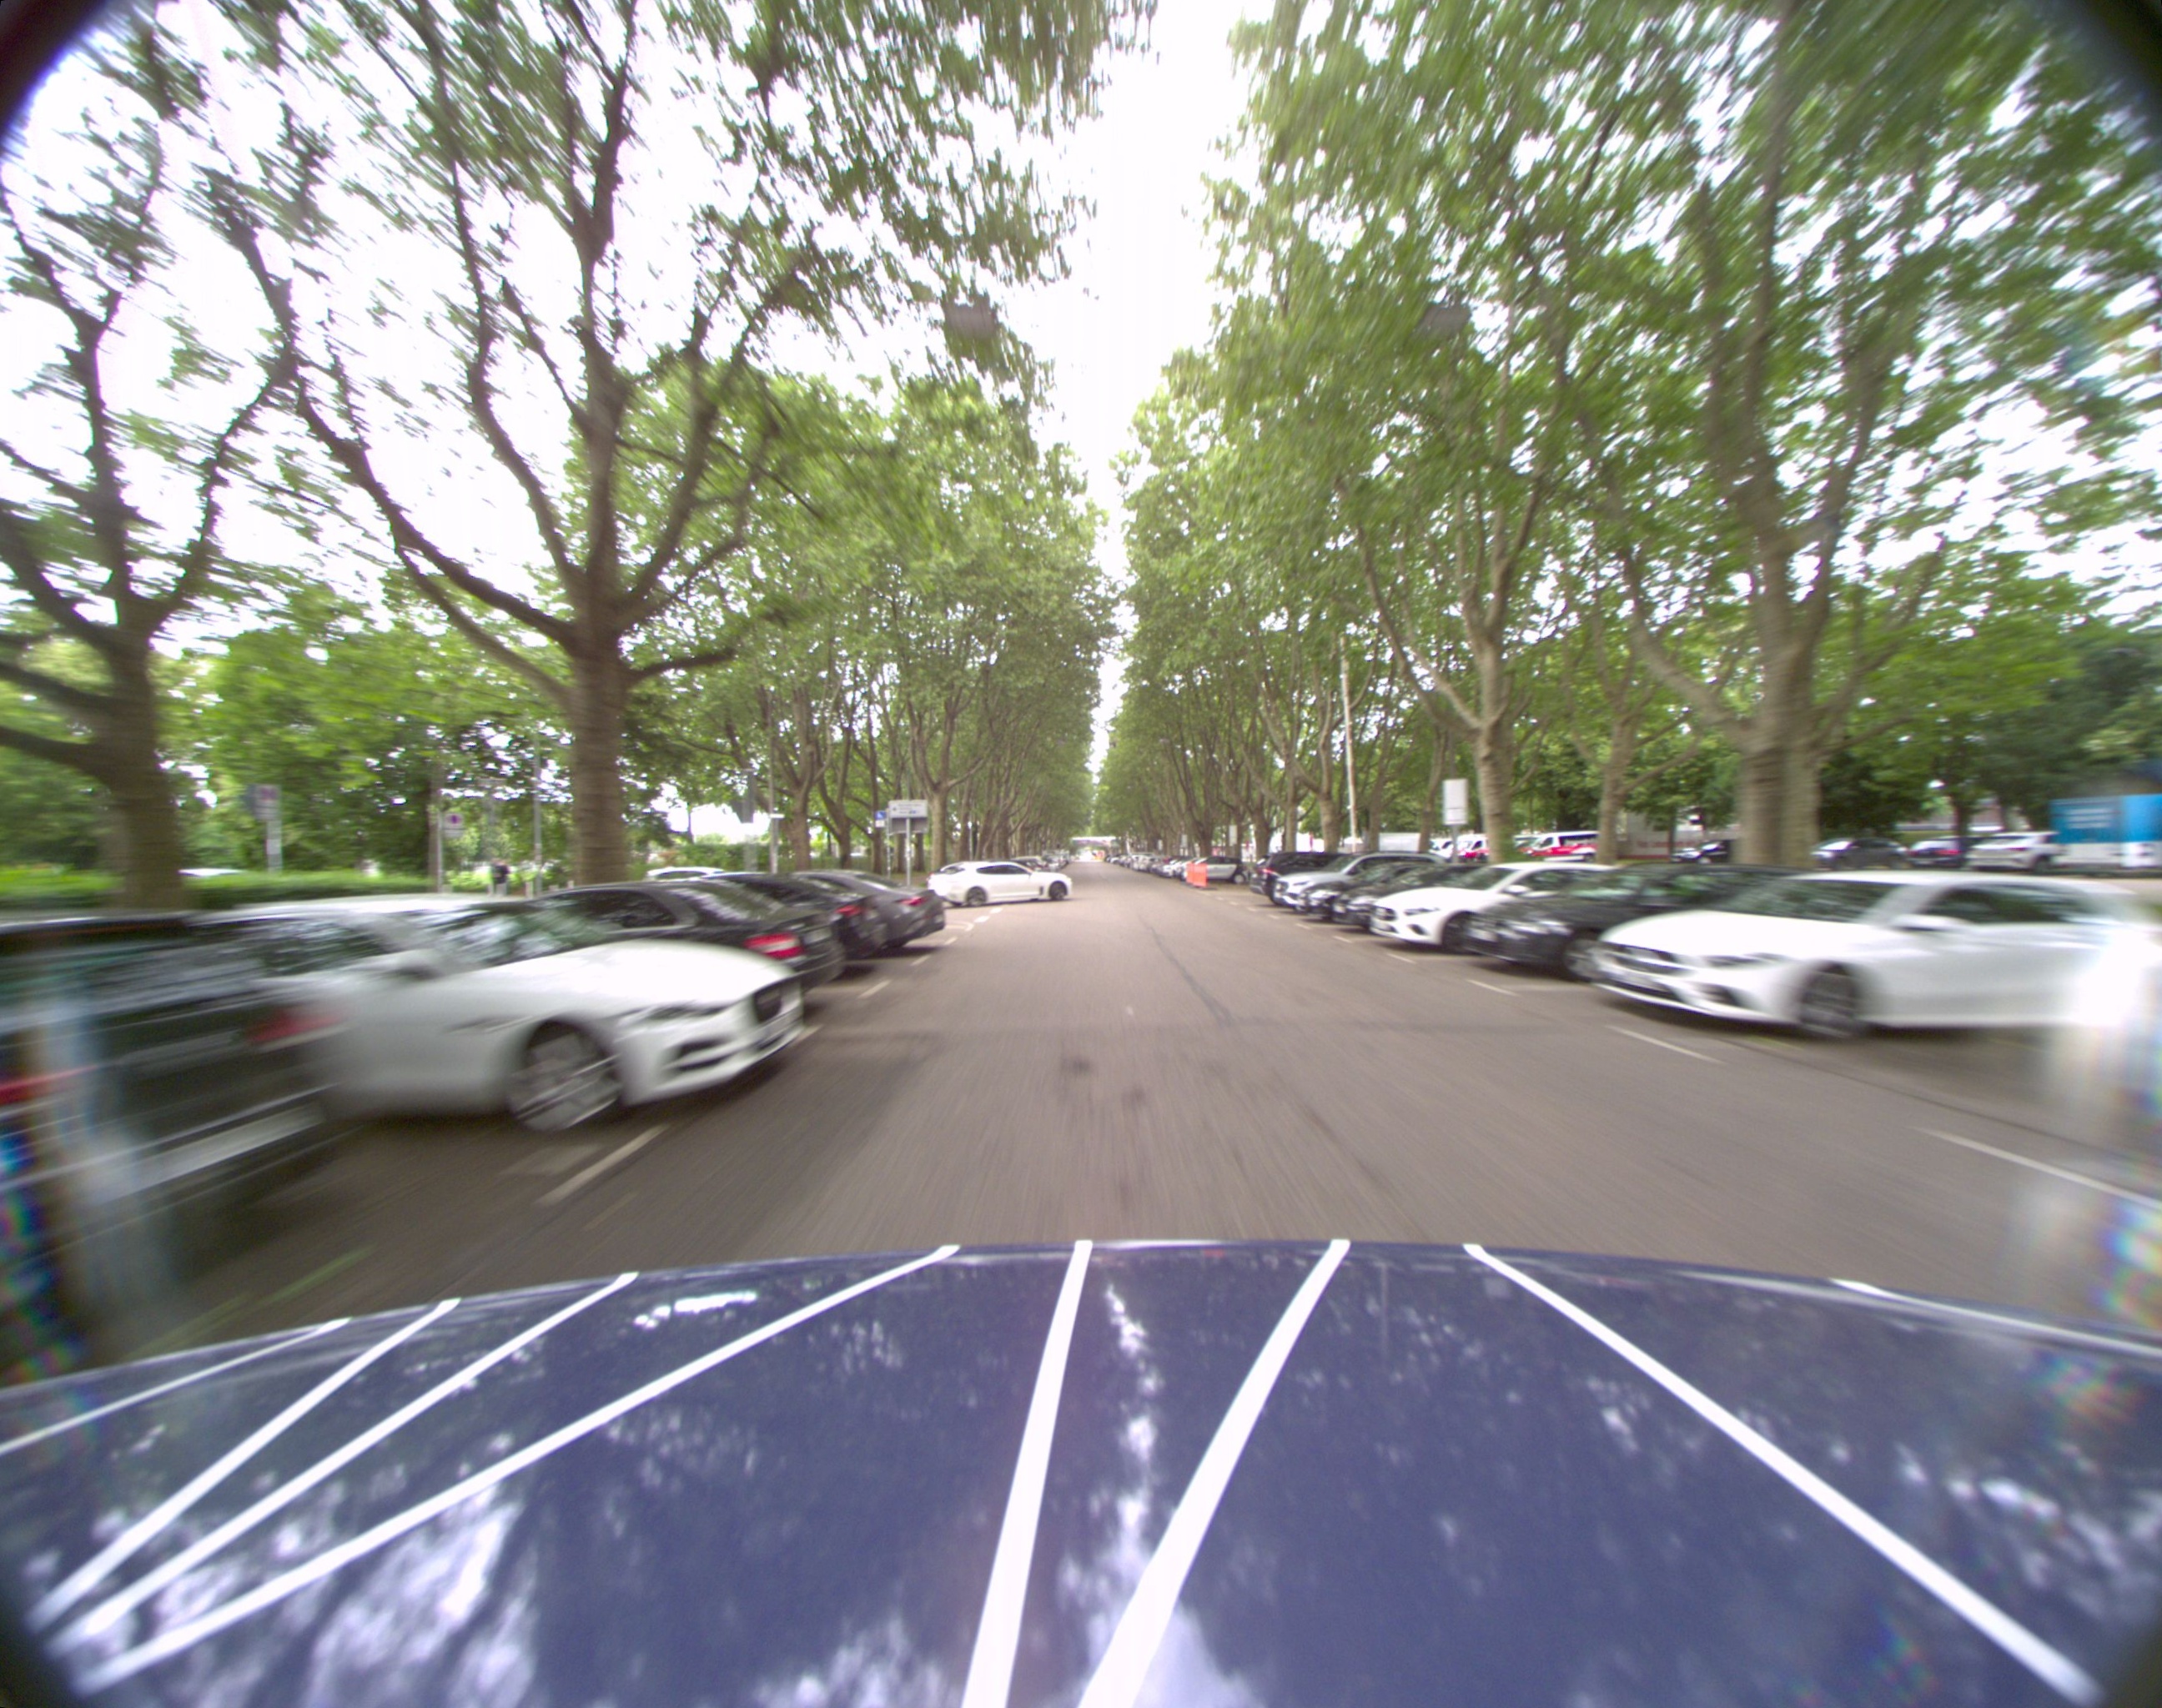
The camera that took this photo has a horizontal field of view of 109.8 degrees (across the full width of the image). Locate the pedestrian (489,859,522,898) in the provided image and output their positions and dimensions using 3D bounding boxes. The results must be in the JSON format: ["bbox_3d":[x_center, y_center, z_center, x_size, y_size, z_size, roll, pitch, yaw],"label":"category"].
[{"bbox_3d":[-23.873,1.010,31.532,0.724,1.558,0.698,-2,1,7],"label":"pedestrian"}]

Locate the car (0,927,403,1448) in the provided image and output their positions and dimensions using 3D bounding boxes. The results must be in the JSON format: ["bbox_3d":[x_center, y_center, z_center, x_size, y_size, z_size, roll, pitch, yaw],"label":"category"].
[{"bbox_3d":[-5.264,1.147,2.730,4.025,1.439,1.784,-3,0,1],"label":"car"}]

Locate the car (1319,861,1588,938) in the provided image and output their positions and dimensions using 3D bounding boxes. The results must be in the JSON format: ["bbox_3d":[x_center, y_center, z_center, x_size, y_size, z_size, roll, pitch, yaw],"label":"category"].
[{"bbox_3d":[7.157,0.852,14.878,4.419,1.387,1.724,0,0,-2],"label":"car"}]

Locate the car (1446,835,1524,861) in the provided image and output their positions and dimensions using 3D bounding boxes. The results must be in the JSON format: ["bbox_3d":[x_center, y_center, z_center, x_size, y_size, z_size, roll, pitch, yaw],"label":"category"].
[{"bbox_3d":[34.844,-0.505,65.643,5.466,2.009,2.393,-2,1,-2],"label":"car"}]

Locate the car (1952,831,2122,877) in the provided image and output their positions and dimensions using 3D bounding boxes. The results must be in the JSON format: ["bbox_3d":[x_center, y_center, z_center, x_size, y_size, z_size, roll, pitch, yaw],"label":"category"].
[{"bbox_3d":[34.271,-0.008,27.301,3.997,1.499,1.733,-2,1,-1],"label":"car"}]

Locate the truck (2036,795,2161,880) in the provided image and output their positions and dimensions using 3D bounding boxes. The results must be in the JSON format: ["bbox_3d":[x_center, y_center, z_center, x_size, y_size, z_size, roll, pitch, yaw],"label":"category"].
[{"bbox_3d":[34.398,-0.567,24.689,3.996,2.594,2.122,-2,1,1],"label":"truck"}]

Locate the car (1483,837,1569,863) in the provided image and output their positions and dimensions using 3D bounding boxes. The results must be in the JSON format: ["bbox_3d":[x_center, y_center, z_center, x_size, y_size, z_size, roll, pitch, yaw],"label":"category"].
[{"bbox_3d":[34.190,-0.325,58.430,5.466,1.839,1.999,-2,1,-2],"label":"car"}]

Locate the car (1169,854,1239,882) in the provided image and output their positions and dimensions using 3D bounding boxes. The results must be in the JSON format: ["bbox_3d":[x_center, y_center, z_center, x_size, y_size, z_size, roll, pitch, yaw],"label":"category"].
[{"bbox_3d":[7.182,0.793,44.601,3.847,1.529,1.676,1,0,2],"label":"car"}]

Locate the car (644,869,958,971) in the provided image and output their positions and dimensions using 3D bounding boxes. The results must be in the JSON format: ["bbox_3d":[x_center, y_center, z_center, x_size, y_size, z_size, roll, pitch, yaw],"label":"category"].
[{"bbox_3d":[-4.551,1.060,12.756,4.598,1.409,1.719,-2,0,4],"label":"car"}]

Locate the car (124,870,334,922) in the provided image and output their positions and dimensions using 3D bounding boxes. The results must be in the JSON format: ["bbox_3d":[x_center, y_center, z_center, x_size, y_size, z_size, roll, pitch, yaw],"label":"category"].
[{"bbox_3d":[-25.857,1.239,23.180,4.288,1.453,1.784,-1,0,-1],"label":"car"}]

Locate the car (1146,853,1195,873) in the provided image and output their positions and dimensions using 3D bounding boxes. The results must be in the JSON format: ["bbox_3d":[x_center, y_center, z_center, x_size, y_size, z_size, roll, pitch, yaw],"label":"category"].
[{"bbox_3d":[7.616,0.765,64.780,4.028,1.619,2.001,1,-1,2],"label":"car"}]

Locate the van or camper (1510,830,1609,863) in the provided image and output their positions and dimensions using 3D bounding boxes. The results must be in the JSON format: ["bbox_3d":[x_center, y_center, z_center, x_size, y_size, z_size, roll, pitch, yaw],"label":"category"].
[{"bbox_3d":[35.067,-0.548,55.806,5.719,2.242,2.329,-2,1,0],"label":"van or camper"}]

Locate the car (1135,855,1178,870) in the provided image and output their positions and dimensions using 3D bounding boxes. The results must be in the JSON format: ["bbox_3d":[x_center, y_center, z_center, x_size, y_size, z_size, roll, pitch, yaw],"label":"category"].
[{"bbox_3d":[7.136,0.821,72.354,3.996,1.422,2.001,1,-1,2],"label":"car"}]

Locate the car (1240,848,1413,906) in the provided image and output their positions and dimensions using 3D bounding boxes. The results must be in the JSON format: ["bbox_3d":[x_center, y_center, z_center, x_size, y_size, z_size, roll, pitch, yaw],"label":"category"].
[{"bbox_3d":[7.173,0.665,22.511,4.420,1.617,2.047,0,0,-3],"label":"car"}]

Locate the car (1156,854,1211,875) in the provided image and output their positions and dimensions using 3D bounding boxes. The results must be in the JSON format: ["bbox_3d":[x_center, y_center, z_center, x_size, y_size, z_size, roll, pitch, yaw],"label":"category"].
[{"bbox_3d":[7.689,0.810,57.280,3.996,1.505,1.874,1,0,2],"label":"car"}]

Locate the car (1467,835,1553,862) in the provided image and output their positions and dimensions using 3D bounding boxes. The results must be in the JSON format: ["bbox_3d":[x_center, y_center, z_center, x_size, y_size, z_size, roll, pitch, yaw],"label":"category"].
[{"bbox_3d":[34.336,-0.434,60.940,5.466,1.986,2.475,-2,1,-2],"label":"car"}]

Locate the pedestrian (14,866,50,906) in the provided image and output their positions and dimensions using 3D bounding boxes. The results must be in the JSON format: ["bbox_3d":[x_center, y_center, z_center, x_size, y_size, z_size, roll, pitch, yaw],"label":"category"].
[{"bbox_3d":[-44.116,1.344,31.955,0.699,1.634,0.723,-3,2,-44],"label":"pedestrian"}]

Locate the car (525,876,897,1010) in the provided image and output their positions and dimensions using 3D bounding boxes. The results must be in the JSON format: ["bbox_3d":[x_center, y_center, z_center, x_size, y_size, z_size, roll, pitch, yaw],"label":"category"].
[{"bbox_3d":[-4.708,1.096,10.238,4.029,1.409,1.910,-2,0,-5],"label":"car"}]

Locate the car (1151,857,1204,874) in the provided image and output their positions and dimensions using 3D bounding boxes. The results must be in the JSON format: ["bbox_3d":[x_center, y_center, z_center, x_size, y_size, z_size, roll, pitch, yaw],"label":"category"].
[{"bbox_3d":[7.525,0.900,59.491,3.996,1.302,2.001,1,-1,2],"label":"car"}]

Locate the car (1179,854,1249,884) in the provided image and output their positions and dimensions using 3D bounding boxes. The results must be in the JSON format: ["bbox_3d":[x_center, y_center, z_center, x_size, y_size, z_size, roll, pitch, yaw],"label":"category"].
[{"bbox_3d":[7.327,0.792,42.137,3.565,1.569,1.847,1,0,2],"label":"car"}]

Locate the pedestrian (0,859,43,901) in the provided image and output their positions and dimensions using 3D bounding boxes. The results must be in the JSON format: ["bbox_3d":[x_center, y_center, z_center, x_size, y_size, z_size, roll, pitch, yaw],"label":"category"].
[{"bbox_3d":[-43.081,1.048,30.898,0.697,1.634,0.725,-2,1,7],"label":"pedestrian"}]

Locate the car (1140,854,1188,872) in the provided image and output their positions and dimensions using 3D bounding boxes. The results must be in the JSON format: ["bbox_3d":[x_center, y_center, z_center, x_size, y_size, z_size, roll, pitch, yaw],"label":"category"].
[{"bbox_3d":[7.288,0.812,67.011,4.039,1.518,1.800,1,-1,2],"label":"car"}]

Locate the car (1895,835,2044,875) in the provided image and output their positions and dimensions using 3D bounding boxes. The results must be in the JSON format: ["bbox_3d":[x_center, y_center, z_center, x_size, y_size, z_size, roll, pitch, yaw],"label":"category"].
[{"bbox_3d":[34.619,0.035,29.669,4.014,1.369,1.729,-2,1,-3],"label":"car"}]

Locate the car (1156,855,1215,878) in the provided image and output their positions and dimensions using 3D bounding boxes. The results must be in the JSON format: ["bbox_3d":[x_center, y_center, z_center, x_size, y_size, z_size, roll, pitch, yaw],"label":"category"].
[{"bbox_3d":[7.103,0.823,52.107,3.847,1.466,1.847,1,0,2],"label":"car"}]

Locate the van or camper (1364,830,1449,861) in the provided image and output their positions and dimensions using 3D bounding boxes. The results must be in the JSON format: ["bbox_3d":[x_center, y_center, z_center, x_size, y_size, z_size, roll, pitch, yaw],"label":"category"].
[{"bbox_3d":[23.950,-0.615,56.003,5.299,2.087,2.244,-2,1,-2],"label":"van or camper"}]

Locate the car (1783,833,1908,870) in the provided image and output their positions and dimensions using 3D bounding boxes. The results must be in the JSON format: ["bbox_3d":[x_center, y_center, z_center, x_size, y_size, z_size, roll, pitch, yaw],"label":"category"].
[{"bbox_3d":[34.541,-0.121,34.386,3.998,1.478,1.800,-2,1,-3],"label":"car"}]

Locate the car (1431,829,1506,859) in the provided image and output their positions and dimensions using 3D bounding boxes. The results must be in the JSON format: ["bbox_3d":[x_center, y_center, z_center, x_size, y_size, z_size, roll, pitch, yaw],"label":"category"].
[{"bbox_3d":[34.820,-0.888,68.329,5.466,2.502,2.393,-2,1,-2],"label":"car"}]

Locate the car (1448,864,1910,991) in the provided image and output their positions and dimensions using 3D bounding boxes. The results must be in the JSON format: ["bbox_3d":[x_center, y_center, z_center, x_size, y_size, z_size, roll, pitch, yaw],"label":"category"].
[{"bbox_3d":[7.325,0.854,9.680,4.418,1.409,1.784,0,0,2],"label":"car"}]

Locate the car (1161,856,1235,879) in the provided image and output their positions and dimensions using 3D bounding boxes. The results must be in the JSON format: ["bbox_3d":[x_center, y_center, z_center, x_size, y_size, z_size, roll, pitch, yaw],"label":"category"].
[{"bbox_3d":[7.643,0.848,49.868,4.575,1.425,2.090,1,0,2],"label":"car"}]

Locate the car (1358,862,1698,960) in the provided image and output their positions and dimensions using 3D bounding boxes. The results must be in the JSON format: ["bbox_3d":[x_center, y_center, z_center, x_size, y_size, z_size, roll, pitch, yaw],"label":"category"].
[{"bbox_3d":[6.985,0.856,12.194,4.419,1.416,1.776,0,0,-1],"label":"car"}]

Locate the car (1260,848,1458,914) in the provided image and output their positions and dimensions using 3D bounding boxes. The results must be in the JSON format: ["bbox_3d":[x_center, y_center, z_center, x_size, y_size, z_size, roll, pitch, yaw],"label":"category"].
[{"bbox_3d":[7.201,0.677,19.932,4.422,1.617,2.046,0,0,-7],"label":"car"}]

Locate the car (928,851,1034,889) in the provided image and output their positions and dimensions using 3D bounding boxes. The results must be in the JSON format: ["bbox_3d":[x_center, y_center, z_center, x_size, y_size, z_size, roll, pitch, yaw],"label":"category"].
[{"bbox_3d":[-4.777,0.754,36.876,4.832,1.497,2.000,-3,0,-1],"label":"car"}]

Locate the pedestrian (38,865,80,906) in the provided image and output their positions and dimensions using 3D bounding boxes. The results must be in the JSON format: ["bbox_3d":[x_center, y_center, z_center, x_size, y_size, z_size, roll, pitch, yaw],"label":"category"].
[{"bbox_3d":[-42.159,1.275,31.357,0.724,1.634,0.698,-2,1,7],"label":"pedestrian"}]

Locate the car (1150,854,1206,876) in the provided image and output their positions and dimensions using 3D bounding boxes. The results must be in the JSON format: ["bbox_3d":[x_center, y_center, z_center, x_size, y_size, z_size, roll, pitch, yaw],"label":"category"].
[{"bbox_3d":[6.933,0.773,54.609,3.847,1.560,1.847,1,0,2],"label":"car"}]

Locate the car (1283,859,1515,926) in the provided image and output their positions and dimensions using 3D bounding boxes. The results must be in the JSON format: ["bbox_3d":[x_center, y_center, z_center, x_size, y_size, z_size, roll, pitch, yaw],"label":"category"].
[{"bbox_3d":[7.111,0.838,17.339,4.420,1.387,2.047,0,0,-3],"label":"car"}]
